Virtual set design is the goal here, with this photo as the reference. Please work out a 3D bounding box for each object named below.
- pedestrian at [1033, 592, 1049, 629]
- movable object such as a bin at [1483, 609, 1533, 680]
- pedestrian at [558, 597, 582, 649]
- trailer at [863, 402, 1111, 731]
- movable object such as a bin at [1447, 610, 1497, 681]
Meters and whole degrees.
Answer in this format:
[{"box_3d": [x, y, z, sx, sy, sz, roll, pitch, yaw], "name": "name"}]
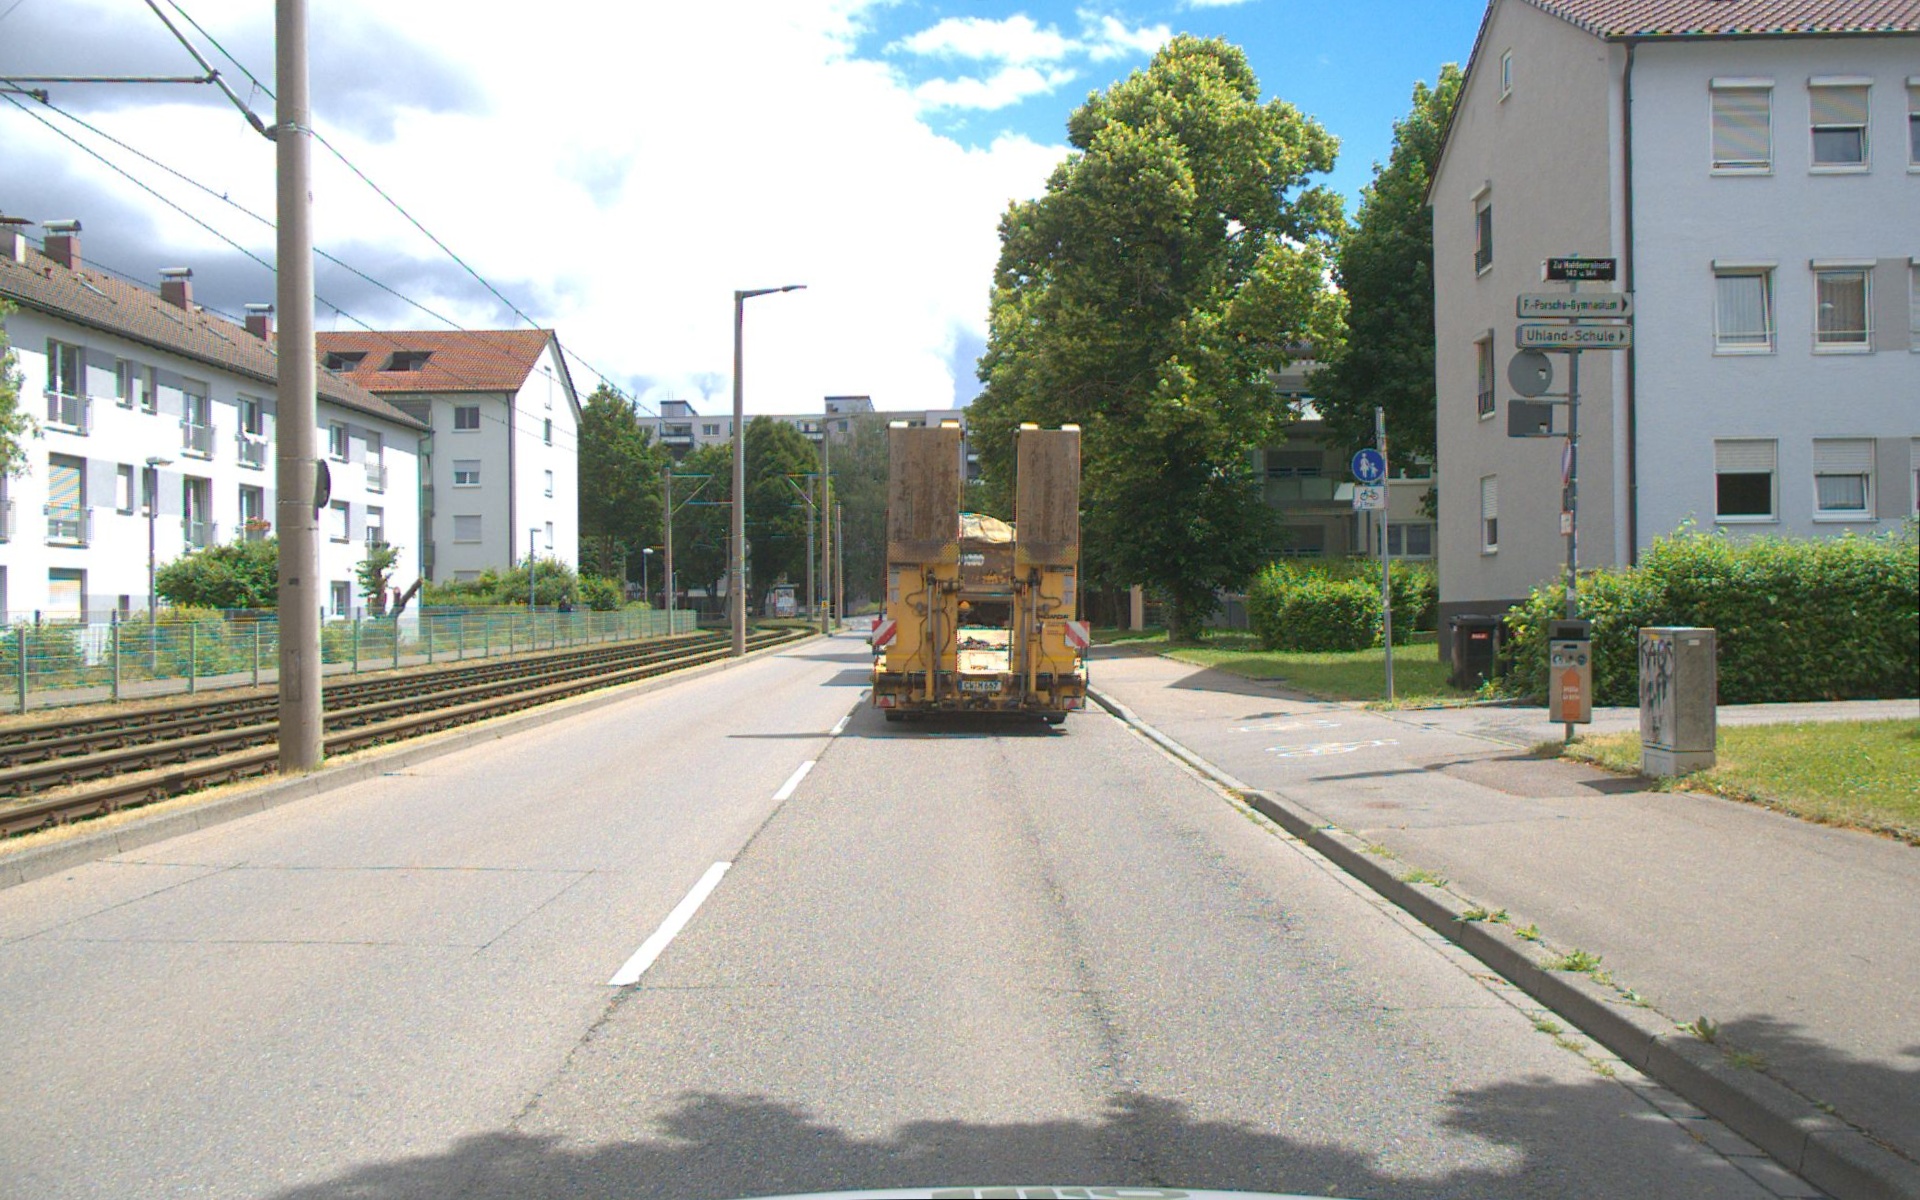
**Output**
[{"box_3d": [3.938, 0.508, 80.510, 0.703, 1.736, 0.766, -2, 0, -1], "name": "pedestrian"}, {"box_3d": [7.710, 0.619, 23.275, 0.490, 0.964, 0.551, -2, 0, -1], "name": "movable object such as a bin"}, {"box_3d": [-14.359, 0.826, 60.872, 0.645, 1.881, 0.768, -2, 0, -1], "name": "pedestrian"}, {"box_3d": [0.091, -0.375, 25.077, 2.770, 3.709, 12.348, 1, 0, -2], "name": "trailer"}, {"box_3d": [7.193, 0.637, 23.247, 0.486, 0.971, 0.580, -2, 0, -1], "name": "movable object such as a bin"}]
